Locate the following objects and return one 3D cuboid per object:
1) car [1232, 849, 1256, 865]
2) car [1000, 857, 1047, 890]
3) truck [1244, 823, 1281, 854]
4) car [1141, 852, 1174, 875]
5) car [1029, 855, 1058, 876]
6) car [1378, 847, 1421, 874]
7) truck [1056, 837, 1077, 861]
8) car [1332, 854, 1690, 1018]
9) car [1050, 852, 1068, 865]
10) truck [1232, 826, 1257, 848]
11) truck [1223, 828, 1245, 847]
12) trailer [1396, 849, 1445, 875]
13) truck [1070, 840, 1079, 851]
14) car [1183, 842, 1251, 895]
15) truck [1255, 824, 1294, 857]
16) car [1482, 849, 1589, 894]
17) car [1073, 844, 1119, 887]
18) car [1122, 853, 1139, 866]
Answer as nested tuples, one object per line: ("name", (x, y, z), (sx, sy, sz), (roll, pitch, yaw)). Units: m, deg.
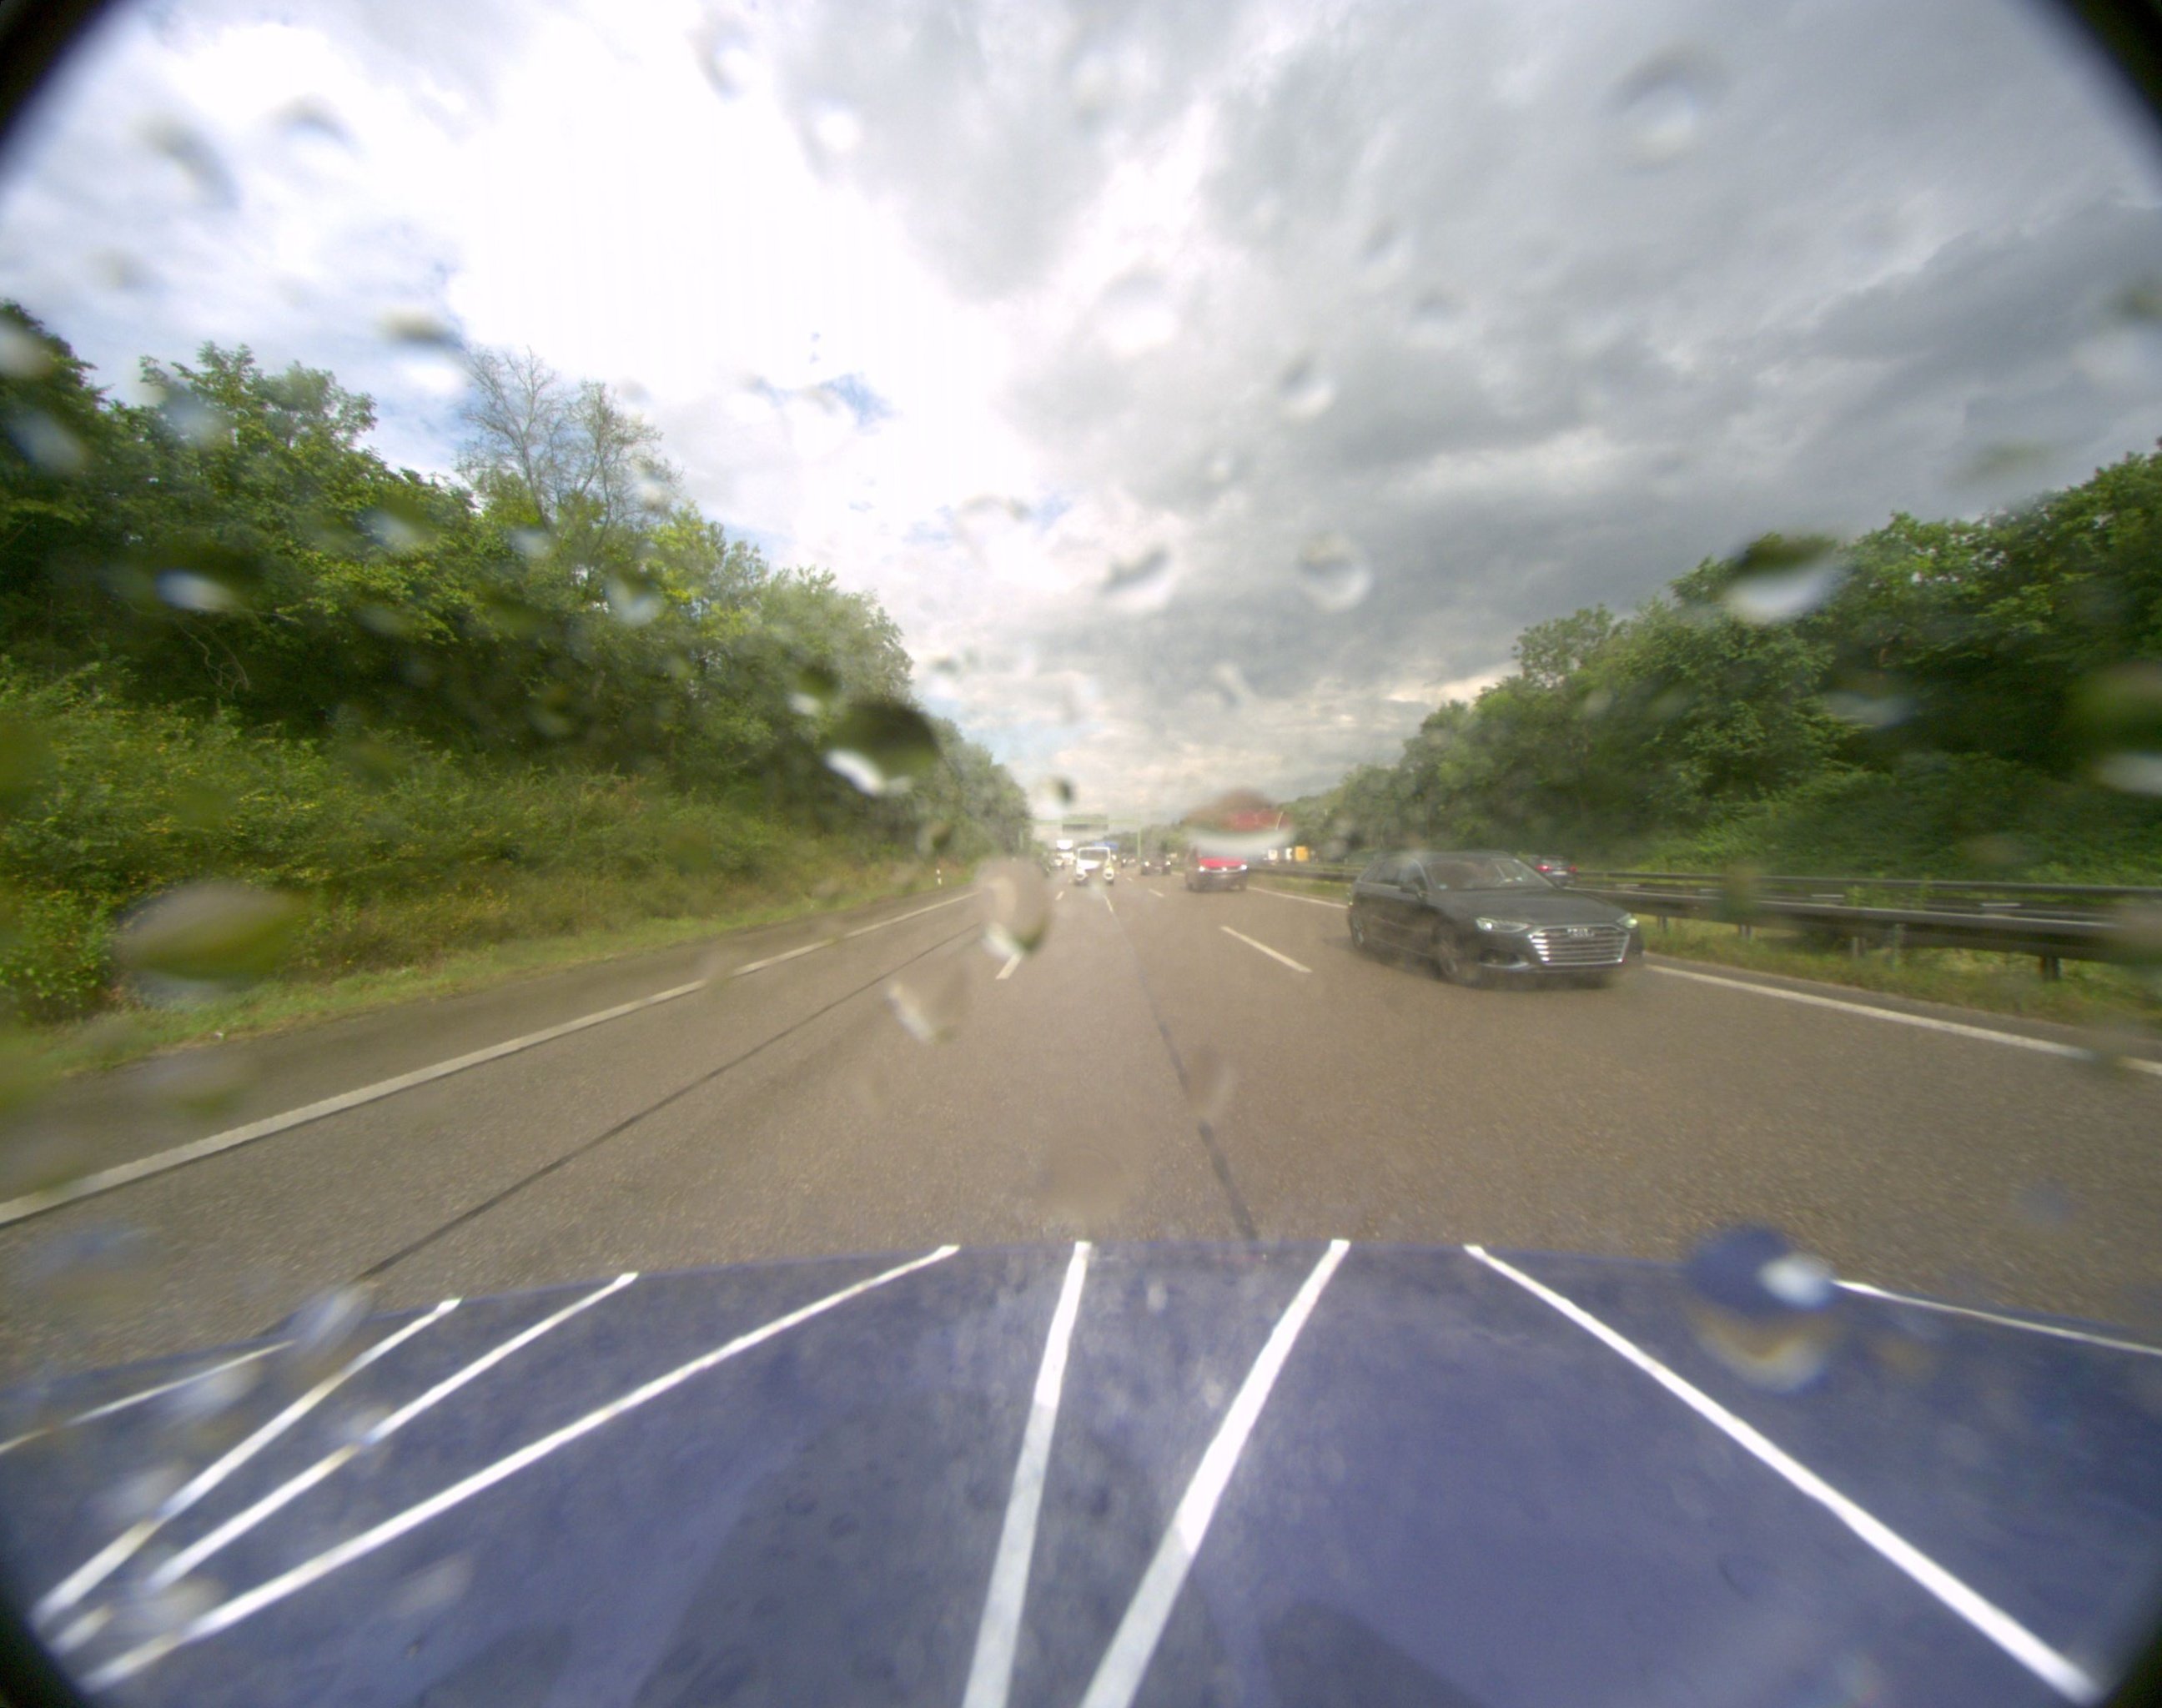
("car", (18.693, 0.300, 87.420), (1.859, 1.653, 4.236), (-2, 1, 1))
("car", (-2.832, 0.910, 38.151), (1.798, 1.410, 4.839), (-2, 1, 2))
("truck", (30.311, -2.531, 127.595), (3.622, 4.693, 11.875), (-2, 1, 2))
("car", (5.549, 0.686, 55.686), (2.009, 1.488, 4.839), (-2, 1, 2))
("car", (-2.857, 0.878, 58.273), (1.798, 1.410, 4.839), (-2, 1, 2))
("car", (23.084, 0.422, 55.167), (1.589, 1.816, 3.682), (-2, 1, 1))
("truck", (-2.301, -0.798, 123.257), (3.064, 3.827, 8.799), (-1, 0, 1))
("car", (4.768, 0.758, 9.439), (1.798, 1.410, 4.839), (-2, 1, 2))
("car", (-2.596, 0.491, 91.737), (1.798, 1.410, 4.839), (-2, 1, 2))
("truck", (37.730, -3.928, 176.107), (3.622, 4.693, 11.875), (-2, 1, 2))
("truck", (38.935, -4.138, 194.147), (3.622, 4.693, 11.875), (-2, 1, 2))
("trailer", (23.044, 0.517, 51.735), (1.589, 1.653, 3.879), (-2, 1, 1))
("truck", (-1.390, -1.802, 166.406), (1.933, 2.417, 5.949), (-1, 0, 1))
("car", (5.313, 0.514, 30.339), (1.926, 1.855, 4.839), (-2, 1, 2))
("truck", (29.292, -2.007, 115.667), (3.622, 4.693, 9.803), (-2, 1, 2))
("car", (18.403, 0.647, 31.007), (1.859, 1.653, 4.236), (-2, 1, 1))
("car", (0.804, 0.516, 39.693), (2.124, 1.988, 5.983), (-2, 1, 2))
("car", (6.065, 0.658, 93.101), (1.798, 1.410, 4.839), (-2, 1, 2))
